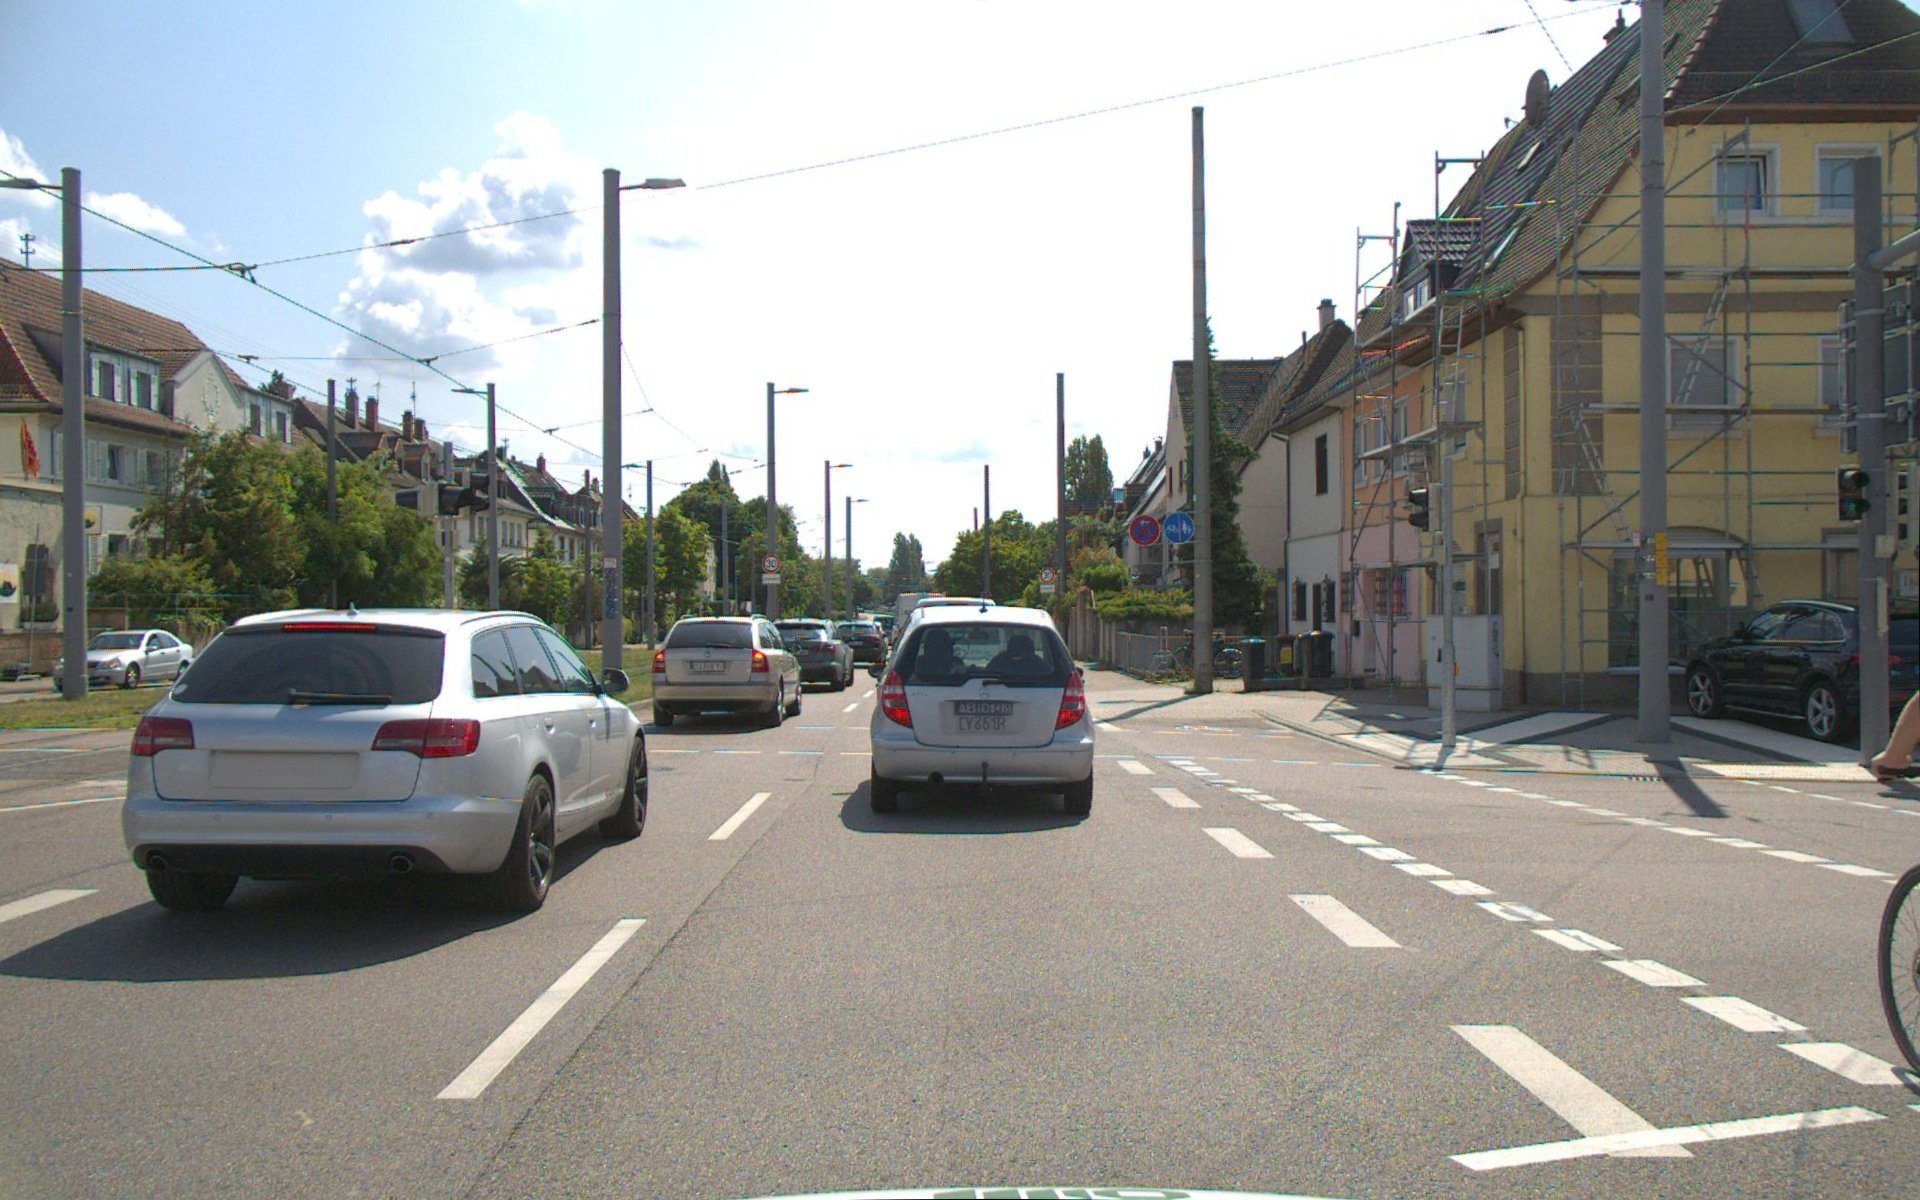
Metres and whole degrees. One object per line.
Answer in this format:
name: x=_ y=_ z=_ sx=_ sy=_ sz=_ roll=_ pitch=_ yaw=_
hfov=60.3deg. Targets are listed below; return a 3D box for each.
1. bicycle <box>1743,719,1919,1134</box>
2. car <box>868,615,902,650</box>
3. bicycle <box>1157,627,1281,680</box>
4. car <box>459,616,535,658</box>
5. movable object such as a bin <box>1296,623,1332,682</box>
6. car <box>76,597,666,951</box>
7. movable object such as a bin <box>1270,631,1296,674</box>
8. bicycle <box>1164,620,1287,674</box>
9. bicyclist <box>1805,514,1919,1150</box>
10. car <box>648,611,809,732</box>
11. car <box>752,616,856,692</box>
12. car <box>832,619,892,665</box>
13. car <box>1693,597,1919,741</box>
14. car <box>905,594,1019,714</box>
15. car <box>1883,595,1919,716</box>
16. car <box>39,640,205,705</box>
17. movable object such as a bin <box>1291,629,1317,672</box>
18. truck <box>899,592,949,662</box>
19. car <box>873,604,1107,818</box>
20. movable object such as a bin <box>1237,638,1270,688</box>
bicycle: x=3.151 y=0.976 z=4.802 sx=0.811 sy=1.094 sz=1.971 roll=-2 pitch=0 yaw=1
car: x=-4.138 y=1.785 z=91.951 sx=1.815 sy=1.875 sz=3.916 roll=1 pitch=-1 yaw=-3
bicycle: x=5.887 y=1.214 z=37.661 sx=2.671 sy=1.139 sz=0.691 roll=-1 pitch=-1 yaw=-2
car: x=-19.951 y=1.581 z=71.481 sx=1.974 sy=1.741 sz=4.935 roll=-1 pitch=-1 yaw=-2
movable object such as a bin: x=6.771 y=0.995 z=31.637 sx=0.501 sy=1.124 sz=0.855 roll=0 pitch=-1 yaw=0
car: x=-2.919 y=0.757 z=9.400 sx=1.758 sy=1.498 sz=4.720 roll=0 pitch=0 yaw=-2
movable object such as a bin: x=7.304 y=1.177 z=37.418 sx=0.458 sy=0.963 sz=0.558 roll=0 pitch=-1 yaw=-1
bicycle: x=5.919 y=1.049 z=36.951 sx=2.608 sy=1.124 sz=0.786 roll=-1 pitch=-1 yaw=-2
bicyclist: x=3.137 y=0.655 z=4.765 sx=0.811 sy=1.825 sz=1.084 roll=-2 pitch=0 yaw=1
car: x=-3.164 y=0.934 z=23.316 sx=1.696 sy=1.474 sz=4.122 roll=1 pitch=0 yaw=-1
car: x=-3.301 y=1.112 z=35.749 sx=1.878 sy=1.503 sz=4.560 roll=1 pitch=-1 yaw=-1
car: x=-3.150 y=1.346 z=53.785 sx=1.815 sy=1.413 sz=4.511 roll=1 pitch=-1 yaw=-2
car: x=11.140 y=0.826 z=20.846 sx=1.953 sy=1.624 sz=4.130 roll=1 pitch=-1 yaw=-1
car: x=-0.034 y=0.848 z=27.134 sx=1.695 sy=1.793 sz=4.014 roll=1 pitch=-1 yaw=-2
car: x=13.907 y=0.741 z=21.082 sx=1.953 sy=1.624 sz=4.130 roll=1 pitch=-1 yaw=-1
car: x=-20.412 y=1.723 z=40.503 sx=1.758 sy=1.411 sz=4.471 roll=-1 pitch=-1 yaw=0
movable object such as a bin: x=7.777 y=1.143 z=37.422 sx=0.458 sy=0.963 sz=0.558 roll=-1 pitch=-1 yaw=-1
truck: x=-1.452 y=1.062 z=65.340 sx=1.815 sy=2.597 sz=5.851 roll=1 pitch=-1 yaw=-2
car: x=0.122 y=0.849 z=14.152 sx=1.695 sy=1.543 sz=4.014 roll=1 pitch=-1 yaw=-3
movable object such as a bin: x=5.586 y=1.199 z=31.507 sx=0.501 sy=0.934 sz=0.741 roll=0 pitch=-1 yaw=0
